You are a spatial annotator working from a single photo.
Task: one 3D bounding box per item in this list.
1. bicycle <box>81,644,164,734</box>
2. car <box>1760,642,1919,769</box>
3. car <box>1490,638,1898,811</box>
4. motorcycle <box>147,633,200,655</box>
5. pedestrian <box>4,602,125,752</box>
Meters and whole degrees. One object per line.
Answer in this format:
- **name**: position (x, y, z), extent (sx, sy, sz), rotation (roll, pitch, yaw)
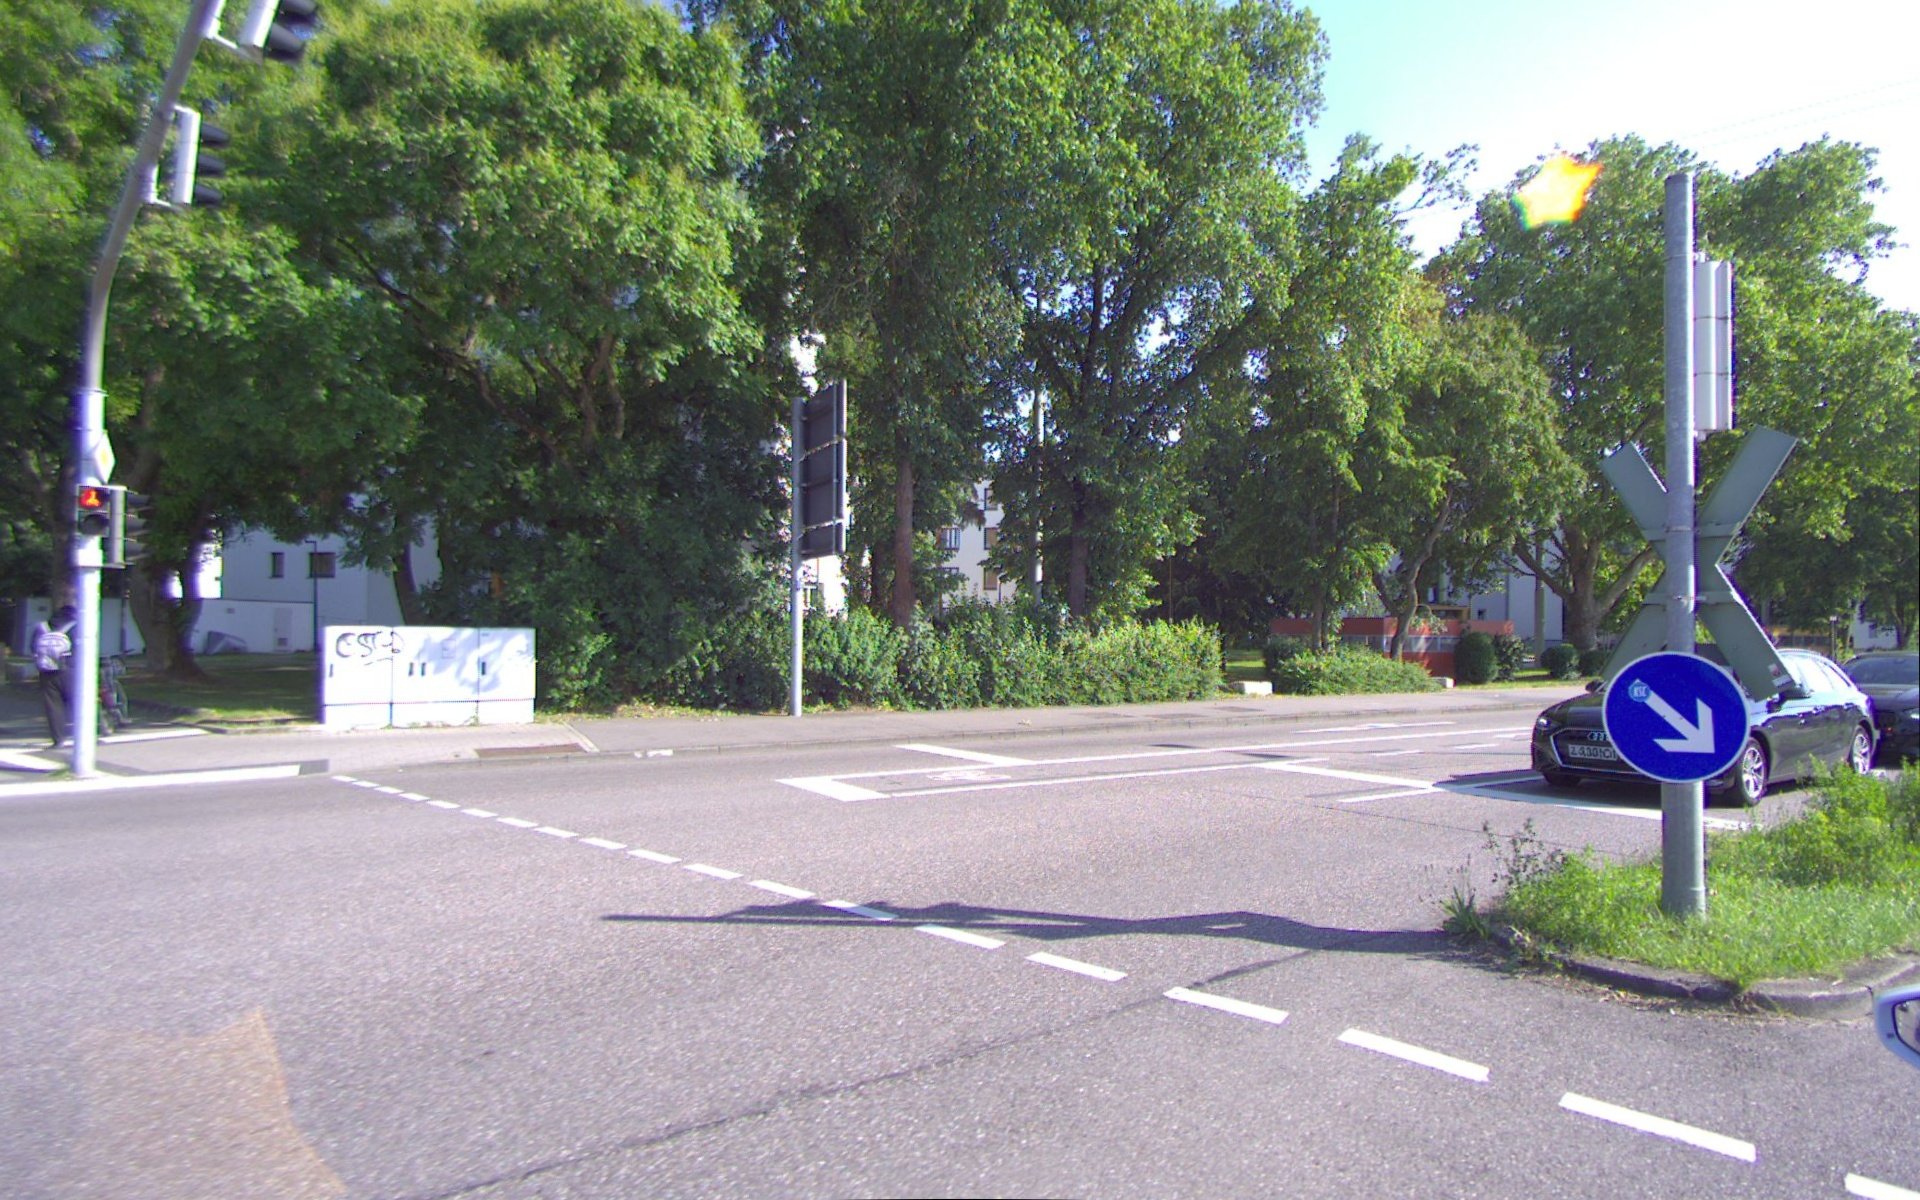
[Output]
- **bicycle**: position (-11.669, 1.201, 14.045), extent (0.625, 1.134, 1.898), rotation (1, -2, -32)
- **car**: position (12.813, 1.319, 13.579), extent (4.333, 1.453, 1.819), rotation (1, -2, -33)
- **car**: position (7.777, 1.134, 10.523), extent (4.678, 1.450, 1.820), rotation (1, -3, -32)
- **motorcycle**: position (-36.226, 2.036, 46.283), extent (2.003, 0.977, 0.527), rotation (0, -1, 1)
- **pedestrian**: position (-11.043, 0.919, 12.427), extent (0.920, 1.775, 0.813), rotation (1, -1, -28)
